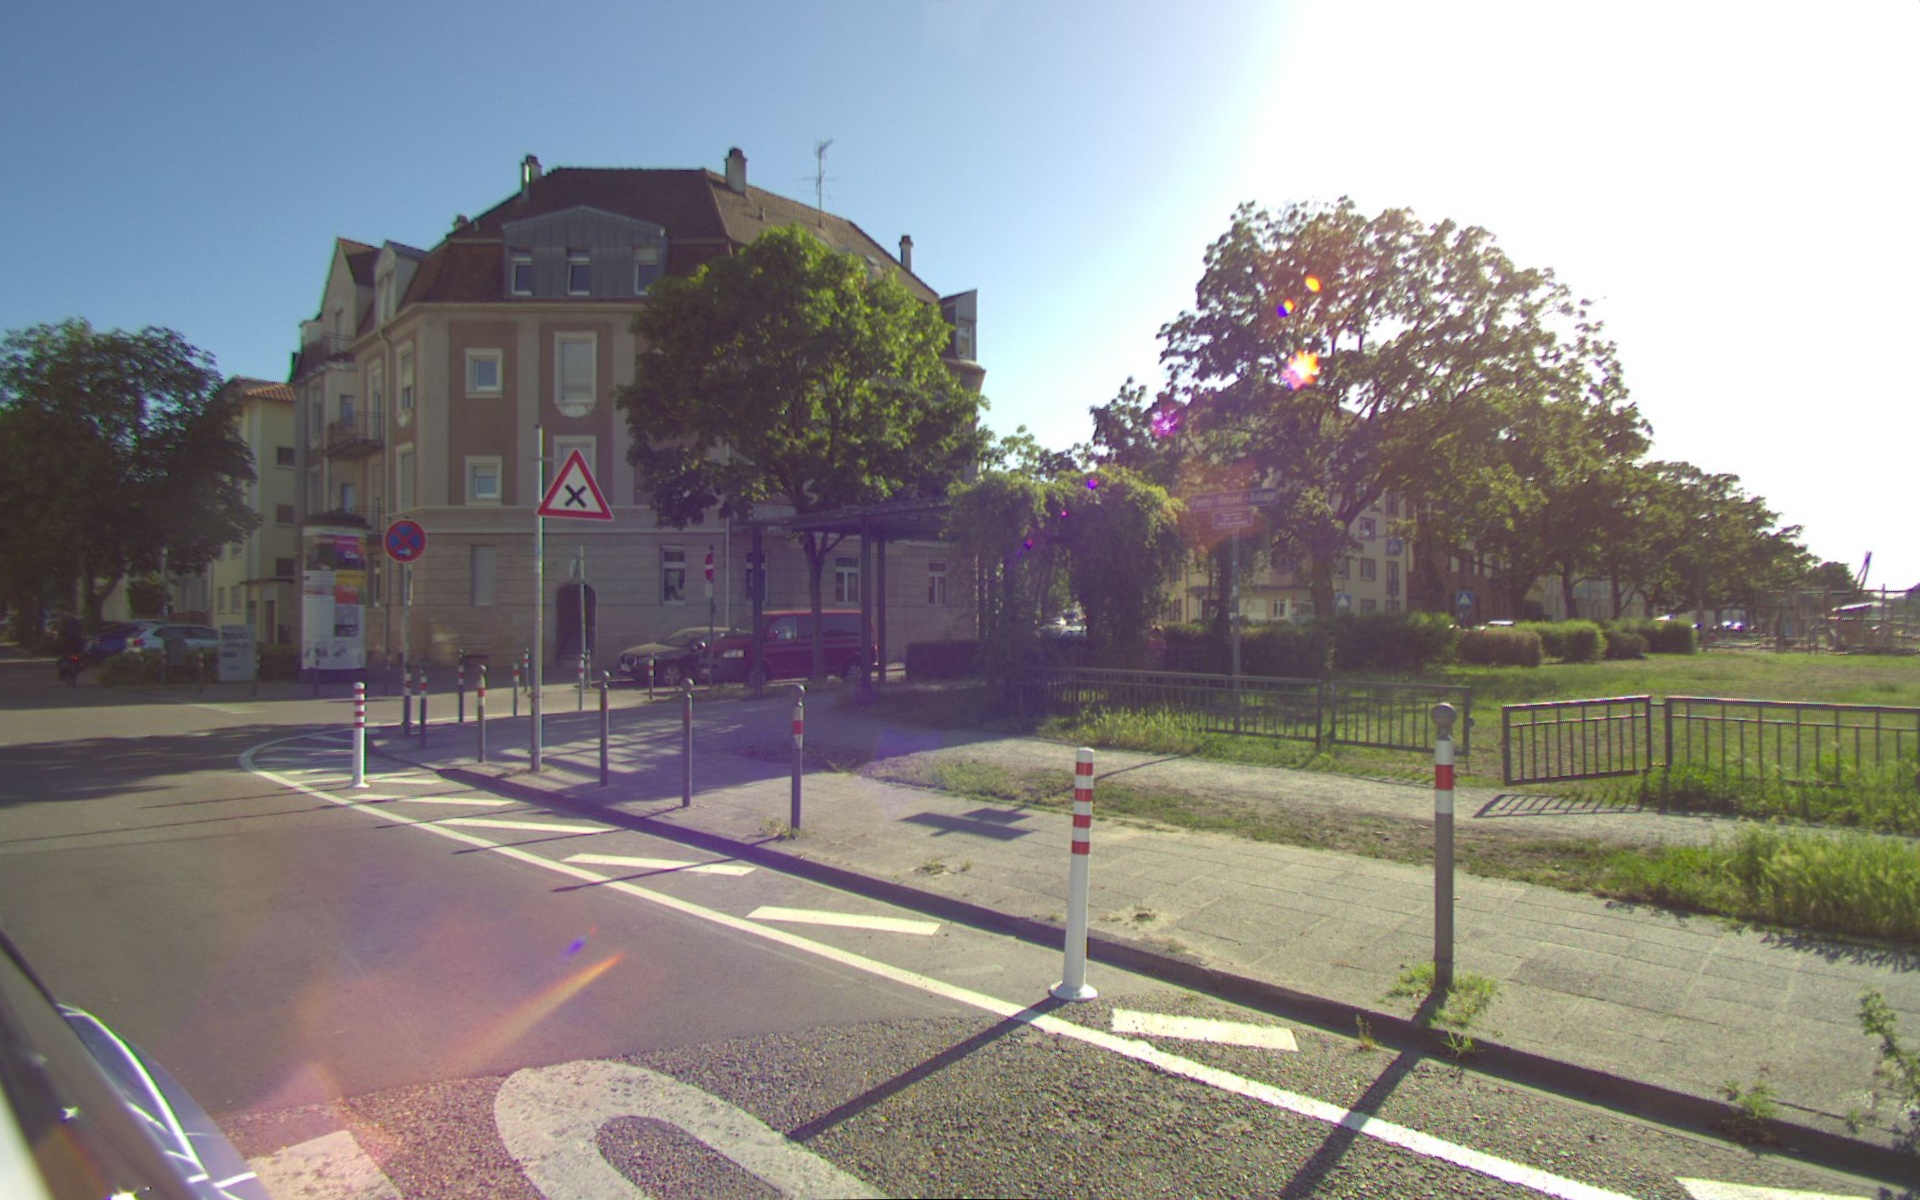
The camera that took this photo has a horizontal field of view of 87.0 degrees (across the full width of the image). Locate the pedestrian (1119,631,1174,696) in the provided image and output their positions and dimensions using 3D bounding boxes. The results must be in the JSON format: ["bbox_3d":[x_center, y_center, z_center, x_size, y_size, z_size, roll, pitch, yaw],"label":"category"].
[{"bbox_3d":[3.394,1.137,18.429,0.862,1.147,0.599,2,-3,-45],"label":"pedestrian"}]

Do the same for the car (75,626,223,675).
[{"bbox_3d":[-27.806,1.682,34.776,1.691,1.506,3.739,-1,-1,41],"label":"car"}]

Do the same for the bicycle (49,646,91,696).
[{"bbox_3d":[-21.716,1.705,24.679,0.635,1.117,2.066,2,-2,-44],"label":"bicycle"}]

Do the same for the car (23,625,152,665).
[{"bbox_3d":[-36.373,1.851,42.264,1.686,1.506,3.751,-1,-1,31],"label":"car"}]

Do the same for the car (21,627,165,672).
[{"bbox_3d":[-32.186,1.808,37.668,1.686,1.506,3.751,-1,-1,31],"label":"car"}]

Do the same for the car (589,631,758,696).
[{"bbox_3d":[-7.629,1.627,27.199,1.867,1.494,3.960,3,1,41],"label":"car"}]

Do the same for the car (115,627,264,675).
[{"bbox_3d":[-25.694,1.654,33.825,1.691,1.455,3.739,-1,-1,41],"label":"car"}]

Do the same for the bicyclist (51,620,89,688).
[{"bbox_3d":[-21.782,1.318,24.757,0.635,1.632,0.637,2,-2,-45],"label":"bicyclist"}]

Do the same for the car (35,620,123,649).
[{"bbox_3d":[-49.162,1.885,56.503,1.690,1.506,3.484,-1,-1,39],"label":"car"}]

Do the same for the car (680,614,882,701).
[{"bbox_3d":[-4.473,1.386,25.848,4.813,1.975,1.898,2,-1,-44],"label":"car"}]

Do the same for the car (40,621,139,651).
[{"bbox_3d":[-45.931,1.870,53.451,1.690,1.506,3.741,-1,-1,39],"label":"car"}]

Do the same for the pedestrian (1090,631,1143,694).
[{"bbox_3d":[2.925,1.153,18.924,0.833,1.158,0.599,2,-3,-45],"label":"pedestrian"}]

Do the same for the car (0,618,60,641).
[{"bbox_3d":[-72.536,2.250,78.816,1.692,1.716,3.481,-1,-1,42],"label":"car"}]

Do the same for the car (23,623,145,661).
[{"bbox_3d":[-38.415,1.812,44.458,1.686,1.506,3.751,-1,-1,31],"label":"car"}]
